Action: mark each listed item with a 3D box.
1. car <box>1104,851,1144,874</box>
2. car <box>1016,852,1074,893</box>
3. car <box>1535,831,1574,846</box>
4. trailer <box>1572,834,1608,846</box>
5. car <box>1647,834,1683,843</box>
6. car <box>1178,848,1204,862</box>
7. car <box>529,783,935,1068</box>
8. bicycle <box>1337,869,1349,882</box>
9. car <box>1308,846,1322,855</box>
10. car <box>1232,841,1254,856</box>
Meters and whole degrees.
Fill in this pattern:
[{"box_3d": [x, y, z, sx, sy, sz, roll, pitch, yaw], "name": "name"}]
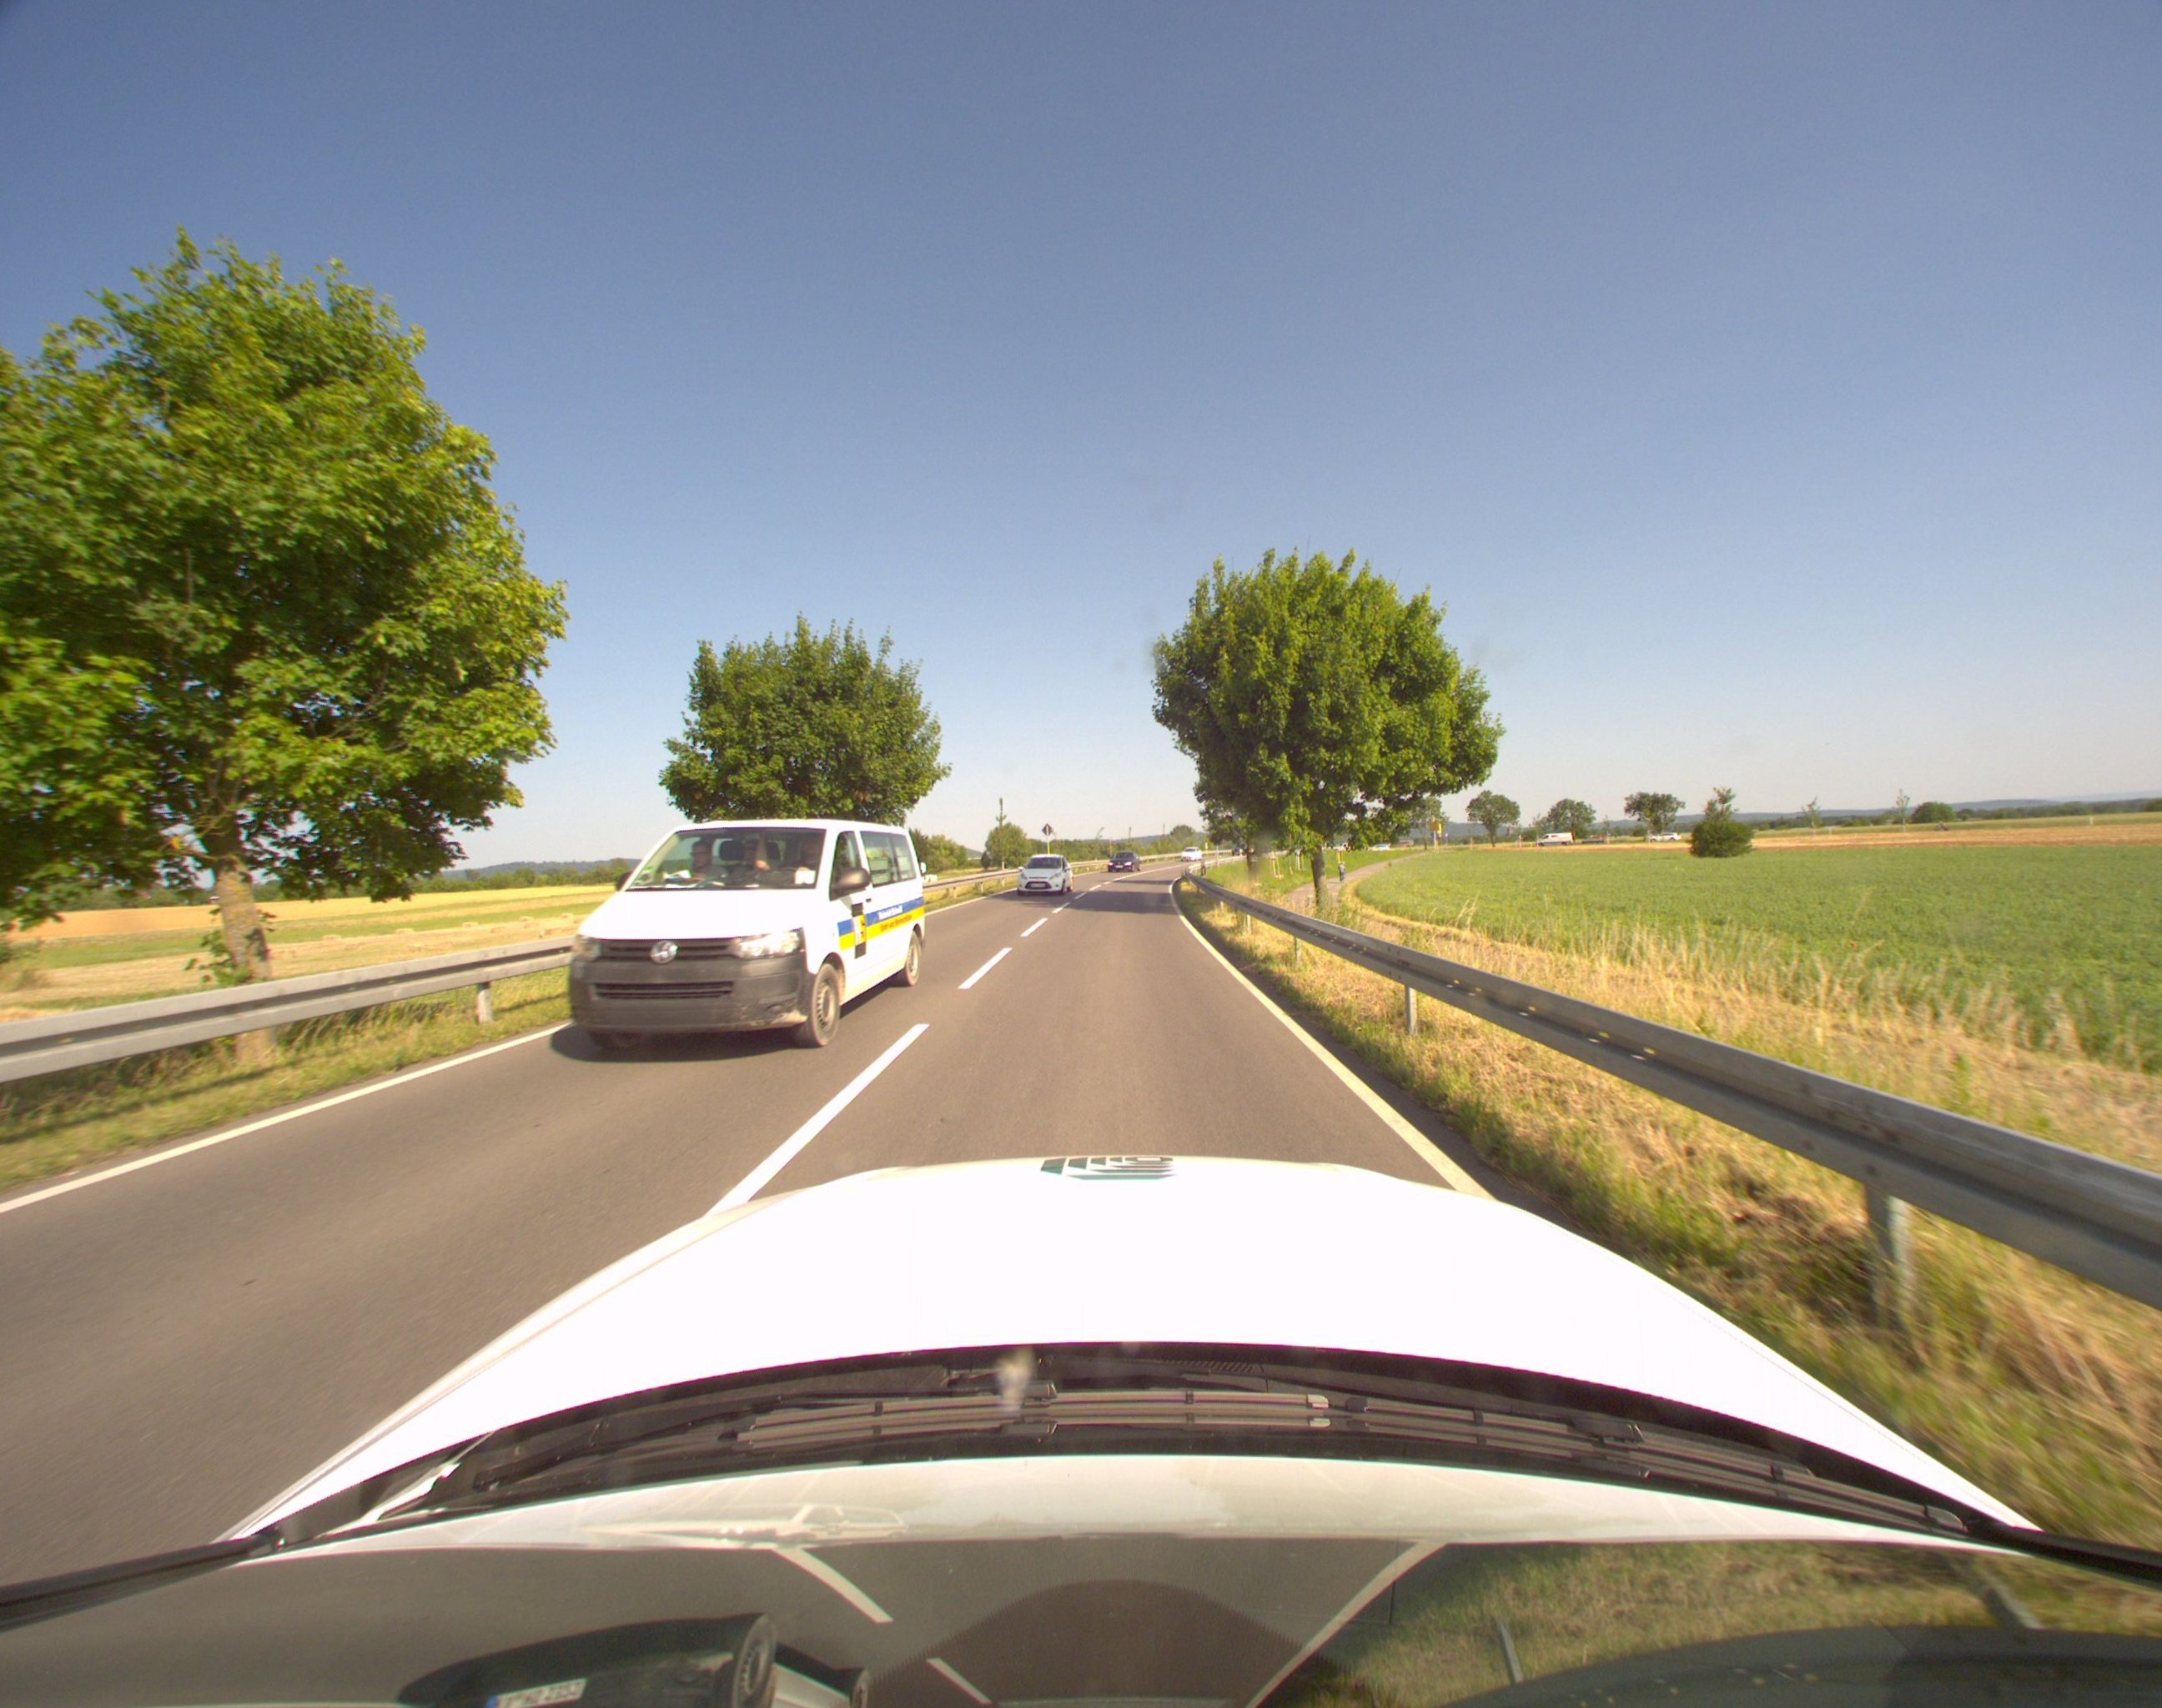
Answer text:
[{"box_3d": [3.062, 0.639, 57.208, 1.823, 1.544, 4.263, -1, -2, 18], "name": "car"}, {"box_3d": [-1.282, 0.685, 30.430, 1.744, 1.429, 3.849, 0, -1, 3], "name": "car"}, {"box_3d": [86.271, -2.777, 148.528, 5.900, 2.493, 2.012, -1, -1, 41], "name": "car"}, {"box_3d": [90.518, -2.499, 144.931, 5.210, 1.753, 1.966, -3, -2, 41], "name": "trailer"}, {"box_3d": [99.312, -2.646, 138.473, 4.821, 1.510, 2.013, -1, -1, 38], "name": "car"}, {"box_3d": [11.943, 0.100, 88.337, 1.837, 1.449, 4.175, -1, 0, 21], "name": "car"}, {"box_3d": [-2.931, 0.562, 8.222, 1.905, 2.014, 4.784, -1, -1, 1], "name": "car"}, {"box_3d": [21.529, 1.758, 66.901, 0.750, 1.034, 1.940, -2, 1, 24], "name": "bicycle"}, {"box_3d": [45.625, -0.681, 158.597, 1.778, 1.448, 4.735, 0, 3, 27], "name": "car"}, {"box_3d": [22.170, -0.737, 111.162, 1.865, 1.798, 5.120, -1, -2, 24], "name": "car"}]
